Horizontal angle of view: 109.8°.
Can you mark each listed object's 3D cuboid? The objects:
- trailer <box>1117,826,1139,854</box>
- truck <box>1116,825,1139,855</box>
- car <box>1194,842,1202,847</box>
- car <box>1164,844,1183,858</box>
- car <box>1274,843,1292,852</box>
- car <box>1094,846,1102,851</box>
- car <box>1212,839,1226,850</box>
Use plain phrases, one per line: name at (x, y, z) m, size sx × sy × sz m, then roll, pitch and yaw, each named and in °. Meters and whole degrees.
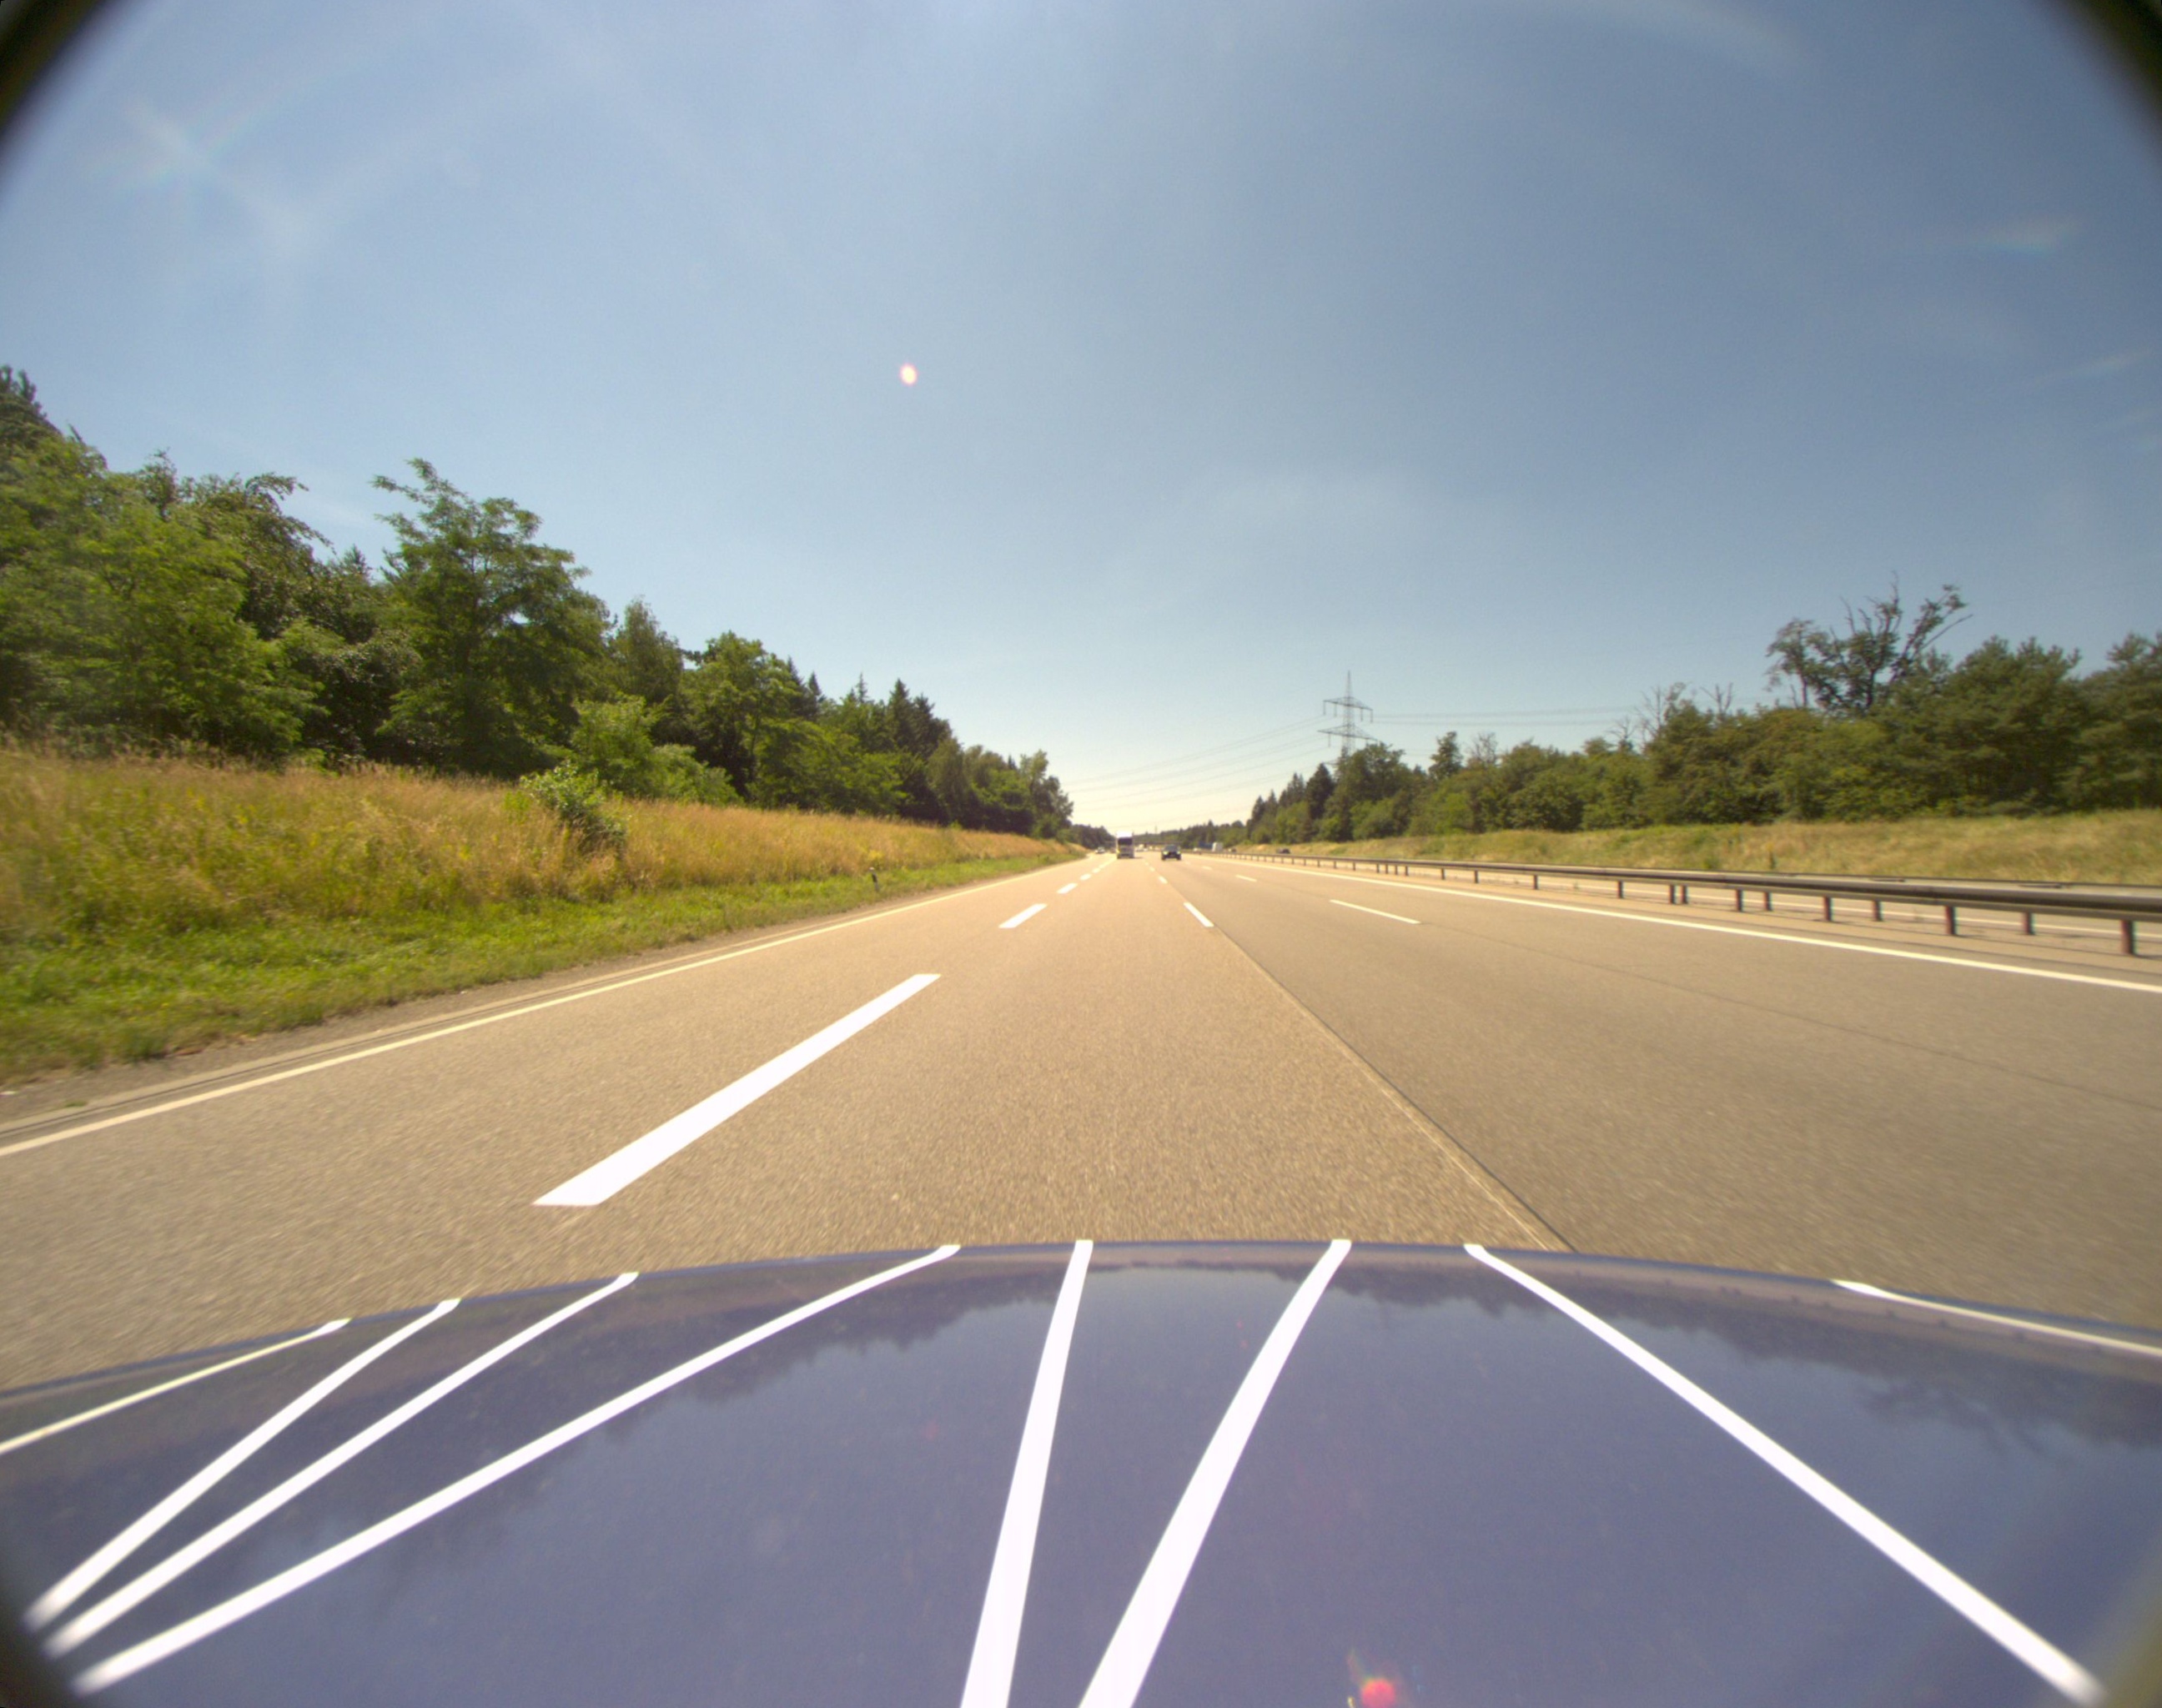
trailer at (7.285, -2.079, 115.957) m, size 2.981 × 4.118 × 11.699 m, roll -1°, pitch 0°, yaw 6°
truck at (6.734, -2.013, 110.096) m, size 2.978 × 4.118 × 5.351 m, roll -1°, pitch 1°, yaw 6°
car at (32.345, -2.590, 209.916) m, size 1.695 × 1.383 × 4.676 m, roll 1°, pitch 1°, yaw 4°
car at (10.323, -0.364, 84.988) m, size 1.898 × 1.417 × 4.263 m, roll -2°, pitch 1°, yaw 6°
car at (33.407, -1.074, 125.857) m, size 1.831 × 1.501 × 4.743 m, roll 0°, pitch 1°, yaw 2°
car at (5.029, -1.609, 218.340) m, size 1.898 × 1.417 × 4.263 m, roll -2°, pitch 1°, yaw 6°
car at (33.631, -2.303, 185.398) m, size 2.348 × 2.695 × 6.874 m, roll 1°, pitch 1°, yaw 4°
